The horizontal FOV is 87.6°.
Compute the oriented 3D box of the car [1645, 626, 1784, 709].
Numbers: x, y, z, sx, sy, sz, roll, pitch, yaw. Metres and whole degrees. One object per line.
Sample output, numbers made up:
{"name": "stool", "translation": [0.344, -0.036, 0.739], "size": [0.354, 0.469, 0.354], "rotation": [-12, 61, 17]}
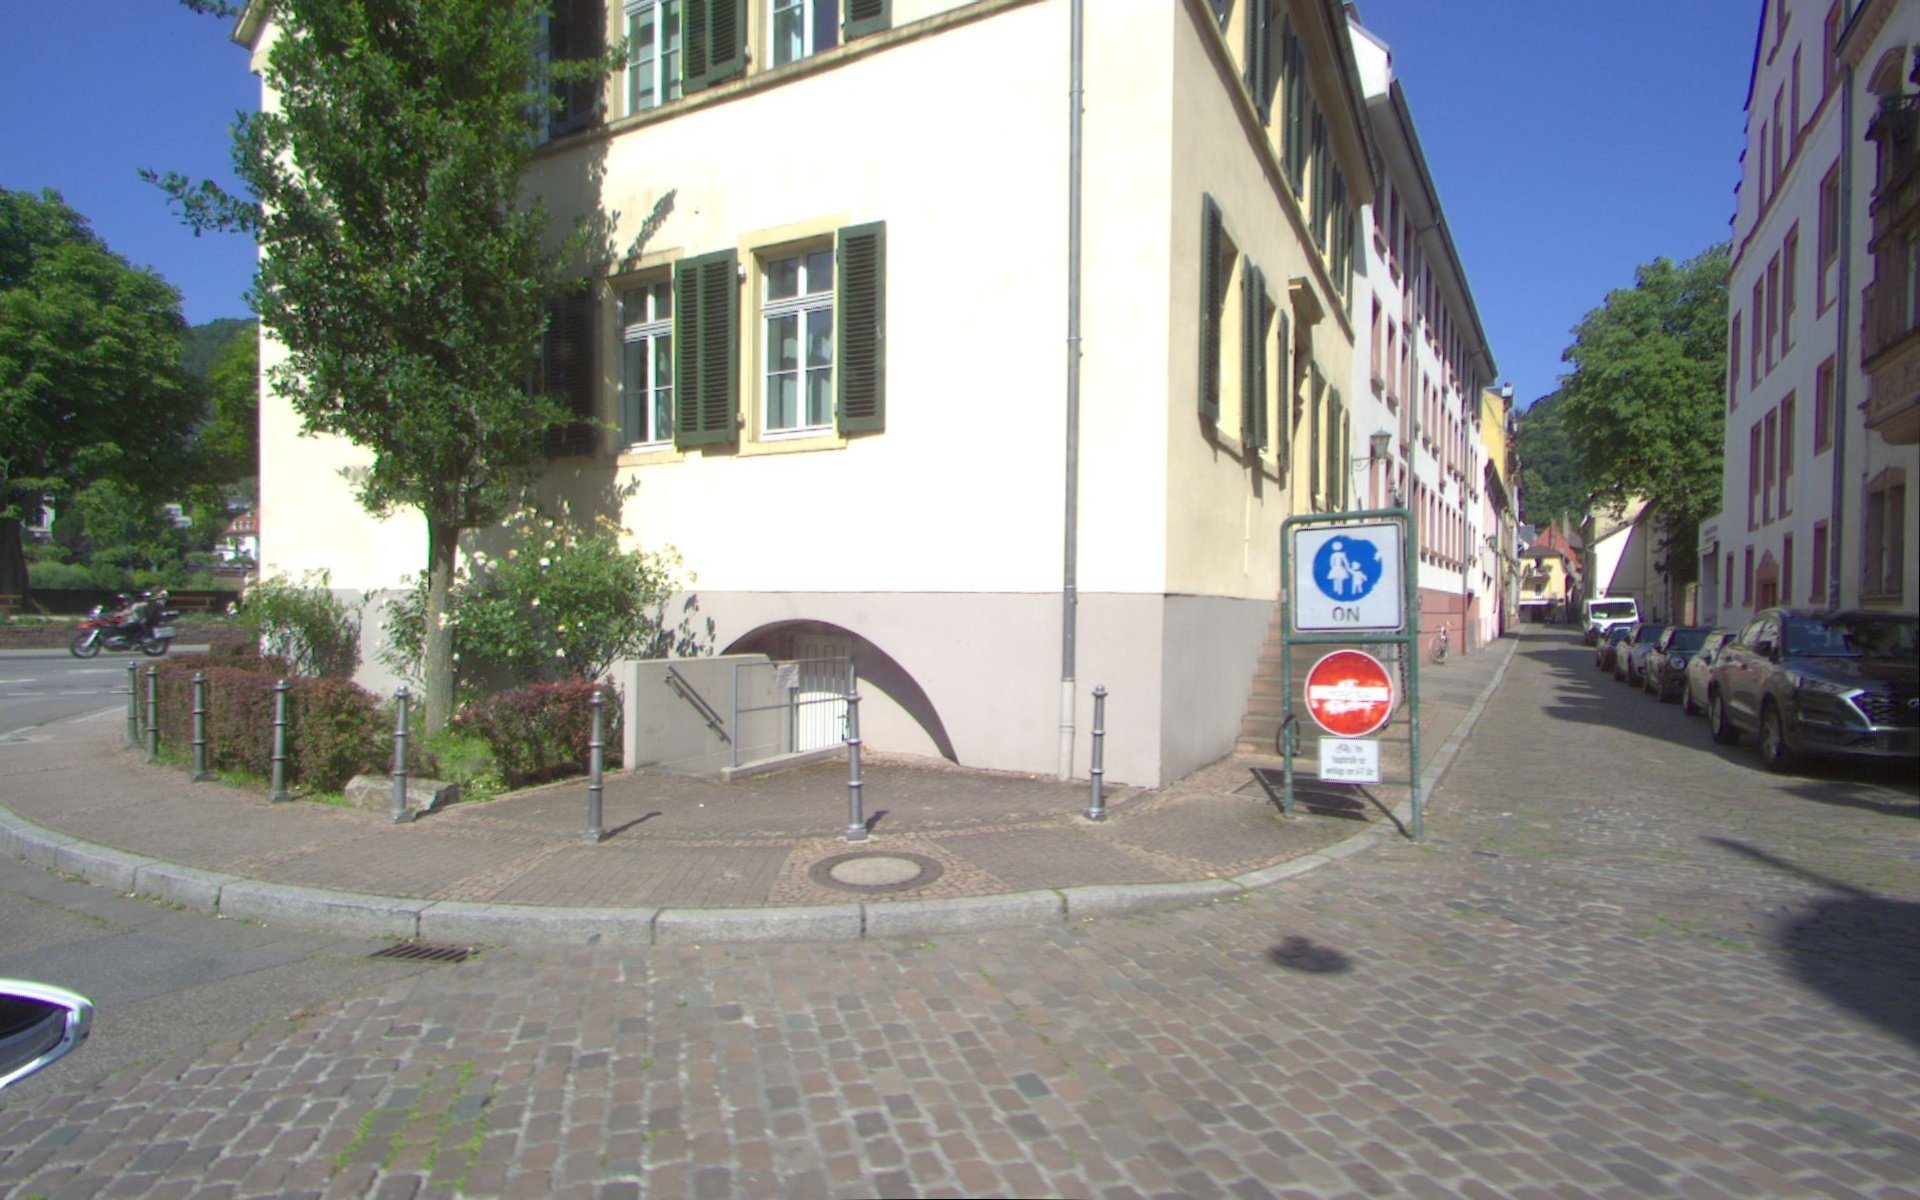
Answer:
{"name": "car", "translation": [14.355, 1.212, 19.217], "size": [1.686, 1.414, 3.320], "rotation": [0, -1, 29]}

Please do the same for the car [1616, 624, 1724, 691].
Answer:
{"name": "car", "translation": [16.291, 1.269, 23.108], "size": [1.686, 1.414, 3.320], "rotation": [0, -1, 29]}

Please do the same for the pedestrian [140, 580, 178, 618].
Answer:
{"name": "pedestrian", "translation": [-27.379, -0.026, 34.215], "size": [0.705, 1.225, 0.797], "rotation": [-3, -4, 31]}

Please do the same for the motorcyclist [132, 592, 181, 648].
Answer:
{"name": "motorcyclist", "translation": [-22.194, 0.552, 27.666], "size": [0.805, 1.513, 0.771], "rotation": [1, 0, 25]}

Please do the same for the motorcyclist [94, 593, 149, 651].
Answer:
{"name": "motorcyclist", "translation": [-22.552, 0.583, 26.940], "size": [0.805, 1.515, 0.871], "rotation": [0, 1, 25]}

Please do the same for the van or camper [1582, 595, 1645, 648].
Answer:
{"name": "van or camper", "translation": [30.895, 1.032, 47.476], "size": [2.153, 2.351, 5.338], "rotation": [0, -1, 29]}

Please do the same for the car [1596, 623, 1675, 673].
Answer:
{"name": "car", "translation": [20.264, 1.399, 30.153], "size": [1.686, 1.414, 3.320], "rotation": [0, -1, 29]}

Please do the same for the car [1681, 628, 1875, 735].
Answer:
{"name": "car", "translation": [12.013, 1.112, 14.932], "size": [1.686, 1.376, 3.320], "rotation": [0, -1, 29]}

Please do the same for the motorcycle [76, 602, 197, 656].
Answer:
{"name": "motorcycle", "translation": [-22.385, 0.777, 27.292], "size": [0.751, 1.394, 2.463], "rotation": [1, 0, 25]}

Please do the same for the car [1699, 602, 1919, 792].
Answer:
{"name": "car", "translation": [9.398, 0.889, 10.513], "size": [1.968, 1.664, 3.986], "rotation": [0, -1, 27]}
